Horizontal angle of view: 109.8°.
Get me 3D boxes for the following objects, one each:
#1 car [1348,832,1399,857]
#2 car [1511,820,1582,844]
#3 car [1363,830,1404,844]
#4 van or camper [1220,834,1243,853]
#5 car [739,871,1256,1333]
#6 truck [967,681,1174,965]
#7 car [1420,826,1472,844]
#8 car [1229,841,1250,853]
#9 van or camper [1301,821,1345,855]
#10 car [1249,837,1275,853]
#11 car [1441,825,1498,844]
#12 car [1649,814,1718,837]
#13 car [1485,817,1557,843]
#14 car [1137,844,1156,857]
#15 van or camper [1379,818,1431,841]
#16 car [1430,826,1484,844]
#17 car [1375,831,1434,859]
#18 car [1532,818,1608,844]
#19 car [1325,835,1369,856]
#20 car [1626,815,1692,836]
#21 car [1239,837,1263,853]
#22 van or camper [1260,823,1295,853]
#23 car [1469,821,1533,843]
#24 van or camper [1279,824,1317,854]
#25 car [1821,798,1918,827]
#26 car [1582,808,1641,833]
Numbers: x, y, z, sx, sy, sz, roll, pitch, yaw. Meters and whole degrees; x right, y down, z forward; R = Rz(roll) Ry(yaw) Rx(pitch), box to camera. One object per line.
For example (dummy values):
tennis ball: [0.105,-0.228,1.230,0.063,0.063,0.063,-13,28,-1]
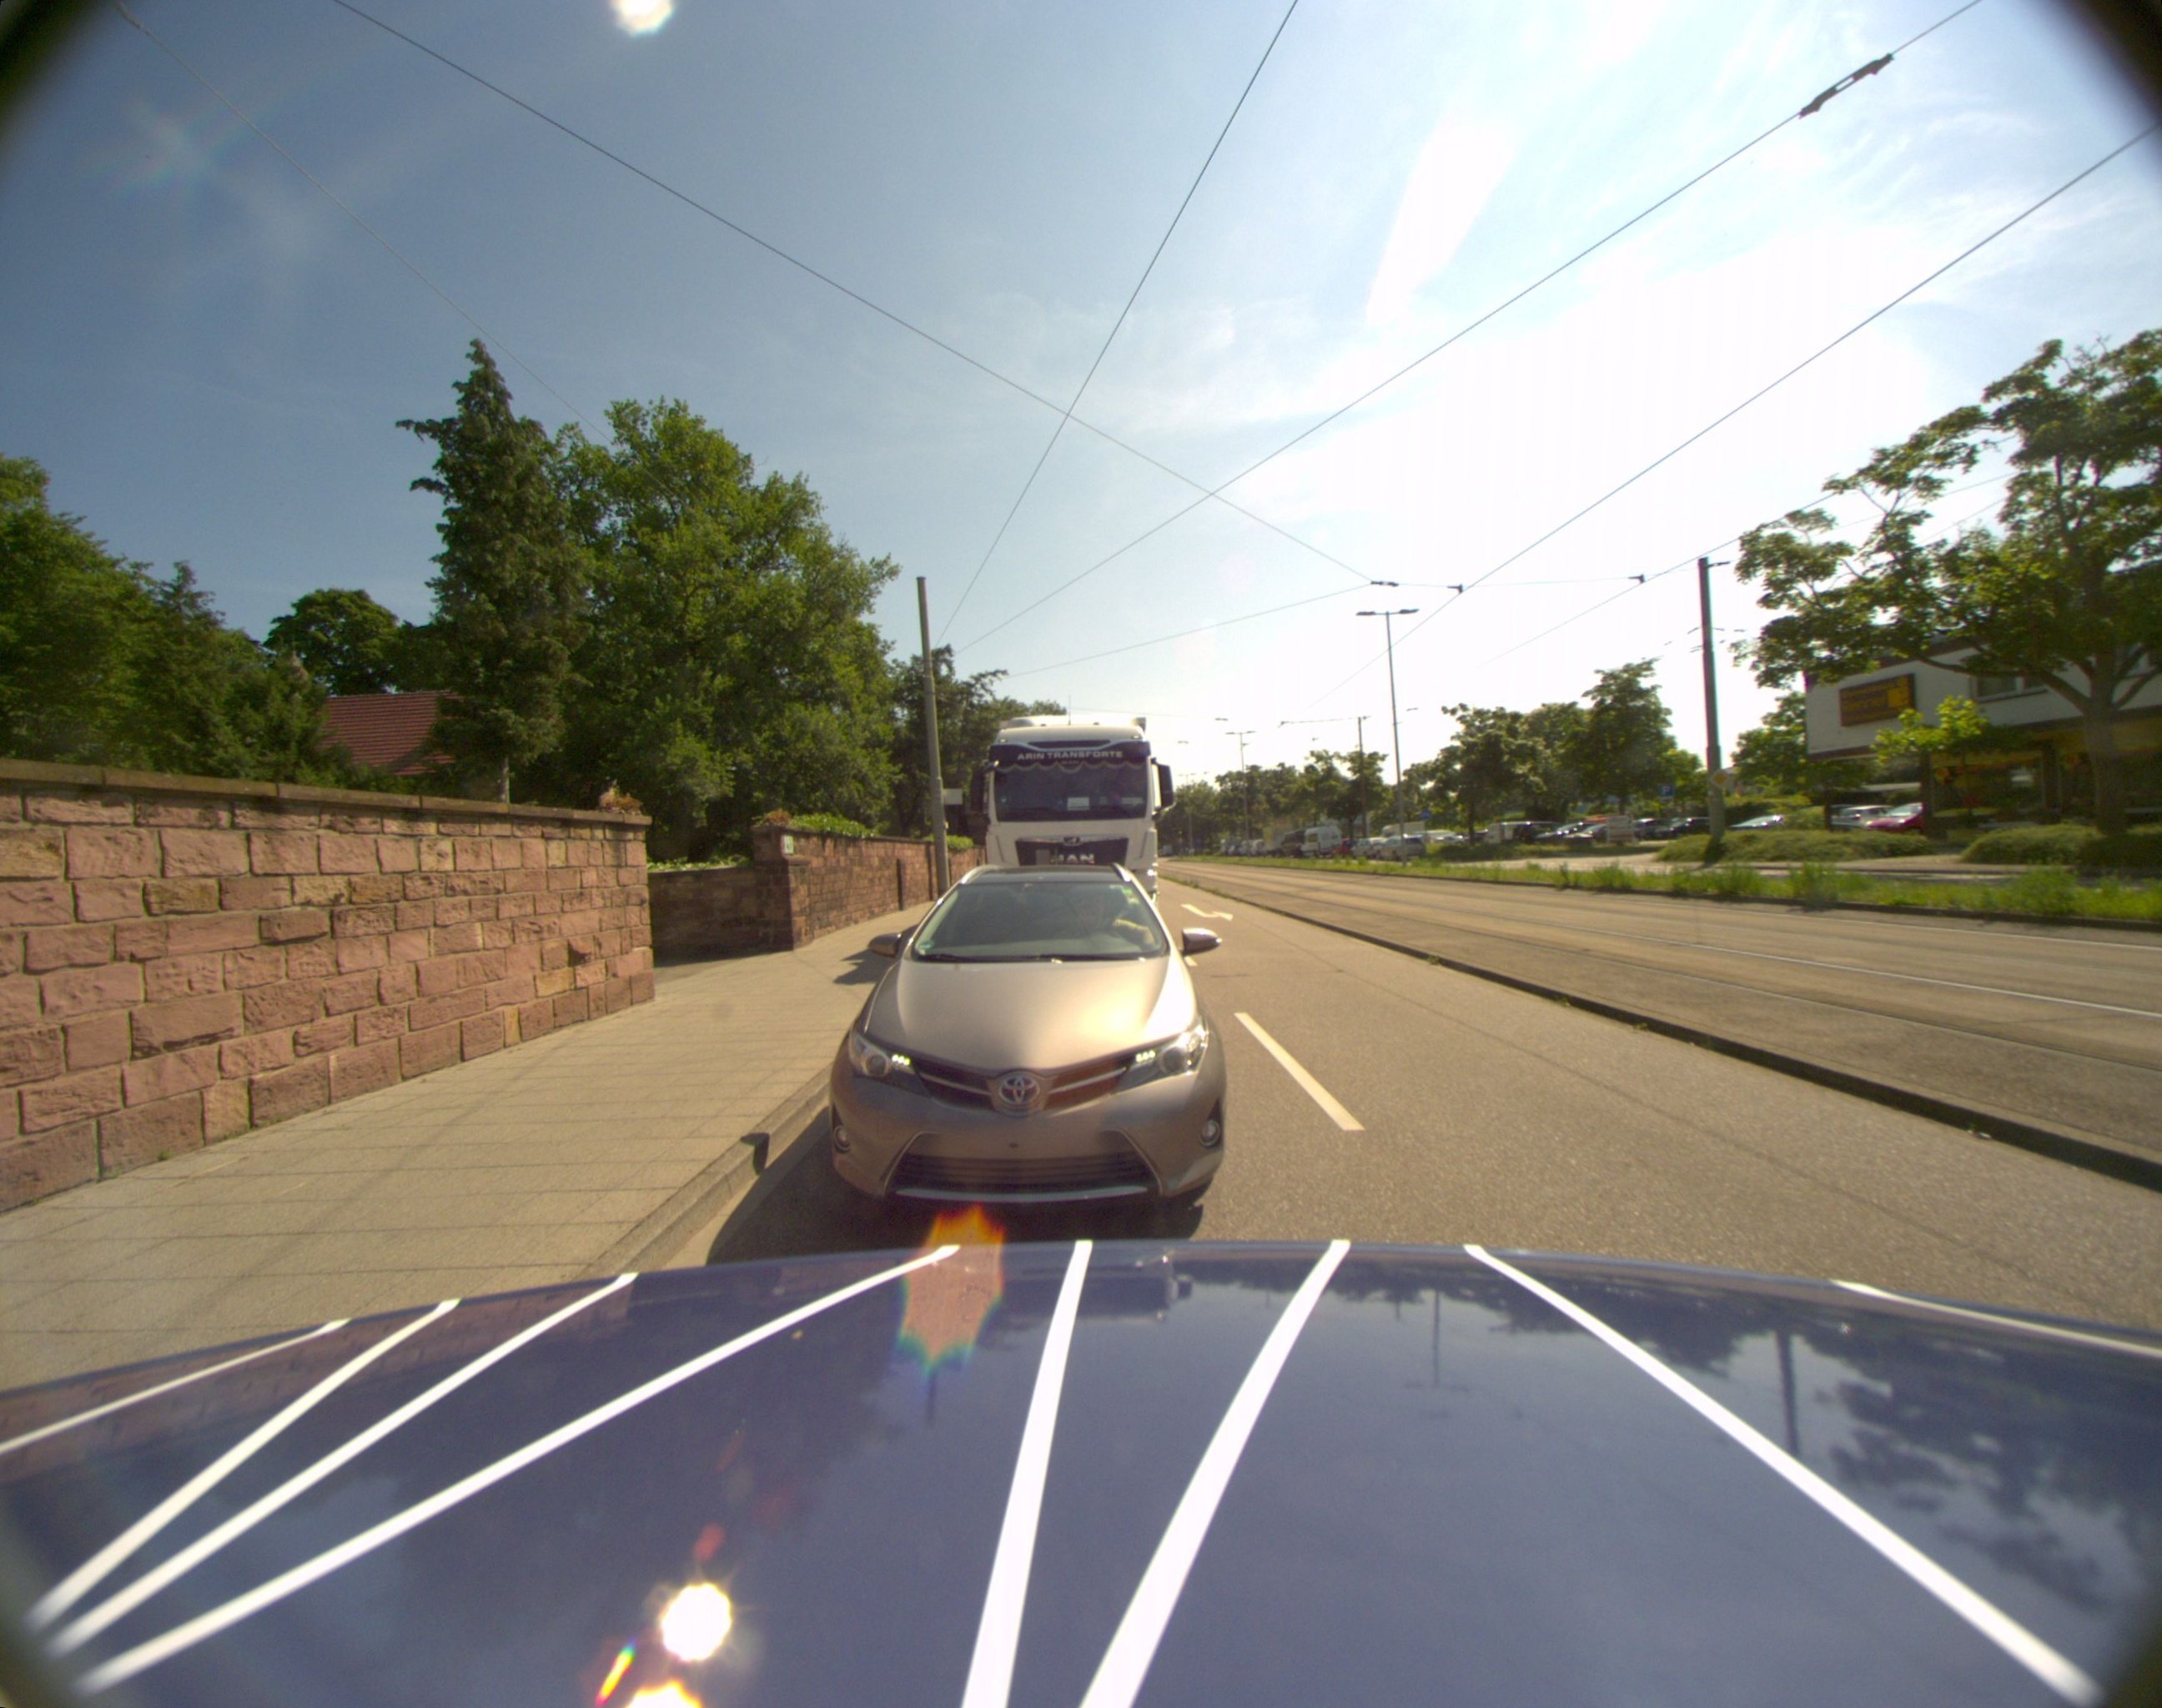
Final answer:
car: [20.532,-0.637,53.555,1.893,1.551,4.285,-3,0,0]
car: [30.698,-1.447,50.197,3.624,1.353,1.712,-3,1,-1]
car: [32.002,-1.804,80.417,3.624,1.274,1.712,-3,1,-1]
van or camper: [21.177,-1.484,107.207,2.114,2.604,5.451,-2,1,1]
car: [-0.261,0.922,4.883,1.742,1.424,4.462,-3,0,1]
truck: [-0.084,-0.452,15.054,2.746,3.852,9.110,-2,0,1]
car: [31.690,-1.628,66.023,3.624,1.274,1.712,-3,1,-1]
car: [20.916,-0.922,100.296,1.893,1.551,4.232,-3,0,0]
van or camper: [20.268,-1.272,63.796,2.040,2.617,4.839,-3,0,0]
car: [20.779,-1.037,87.355,1.893,1.724,4.232,-3,0,0]
car: [31.047,-1.544,60.784,3.624,1.274,1.812,-3,1,-1]
car: [43.531,-2.041,54.938,3.624,1.353,1.712,-3,1,-1]
car: [30.447,-1.645,52.663,3.749,1.560,1.951,-3,1,-1]
car: [9.077,-0.502,105.261,1.817,1.725,4.025,-2,1,14]
van or camper: [44.861,-3.396,105.382,6.081,2.715,2.299,-3,1,3]
car: [31.477,-1.593,63.692,3.624,1.274,1.712,-3,1,-1]
car: [20.392,-0.544,48.132,1.892,1.486,4.285,-6,0,2]
car: [30.494,-1.408,47.454,3.624,1.353,1.712,-3,1,-1]
car: [20.547,-0.631,58.824,1.893,1.486,4.232,-3,0,0]
car: [43.730,-2.138,57.528,3.624,1.353,1.712,-3,1,-1]
car: [21.053,-1.098,94.291,1.893,1.757,4.232,-3,0,0]
van or camper: [20.290,-1.618,78.741,2.128,2.968,5.281,-3,0,0]
car: [30.375,-1.585,54.990,3.624,1.277,1.712,-3,1,-1]
van or camper: [20.216,-1.350,70.851,2.040,2.617,4.839,-3,0,0]
car: [43.785,-2.299,42.252,3.624,1.353,1.712,-3,1,-1]
car: [43.596,-2.728,62.464,3.624,1.767,1.712,-3,1,-1]
